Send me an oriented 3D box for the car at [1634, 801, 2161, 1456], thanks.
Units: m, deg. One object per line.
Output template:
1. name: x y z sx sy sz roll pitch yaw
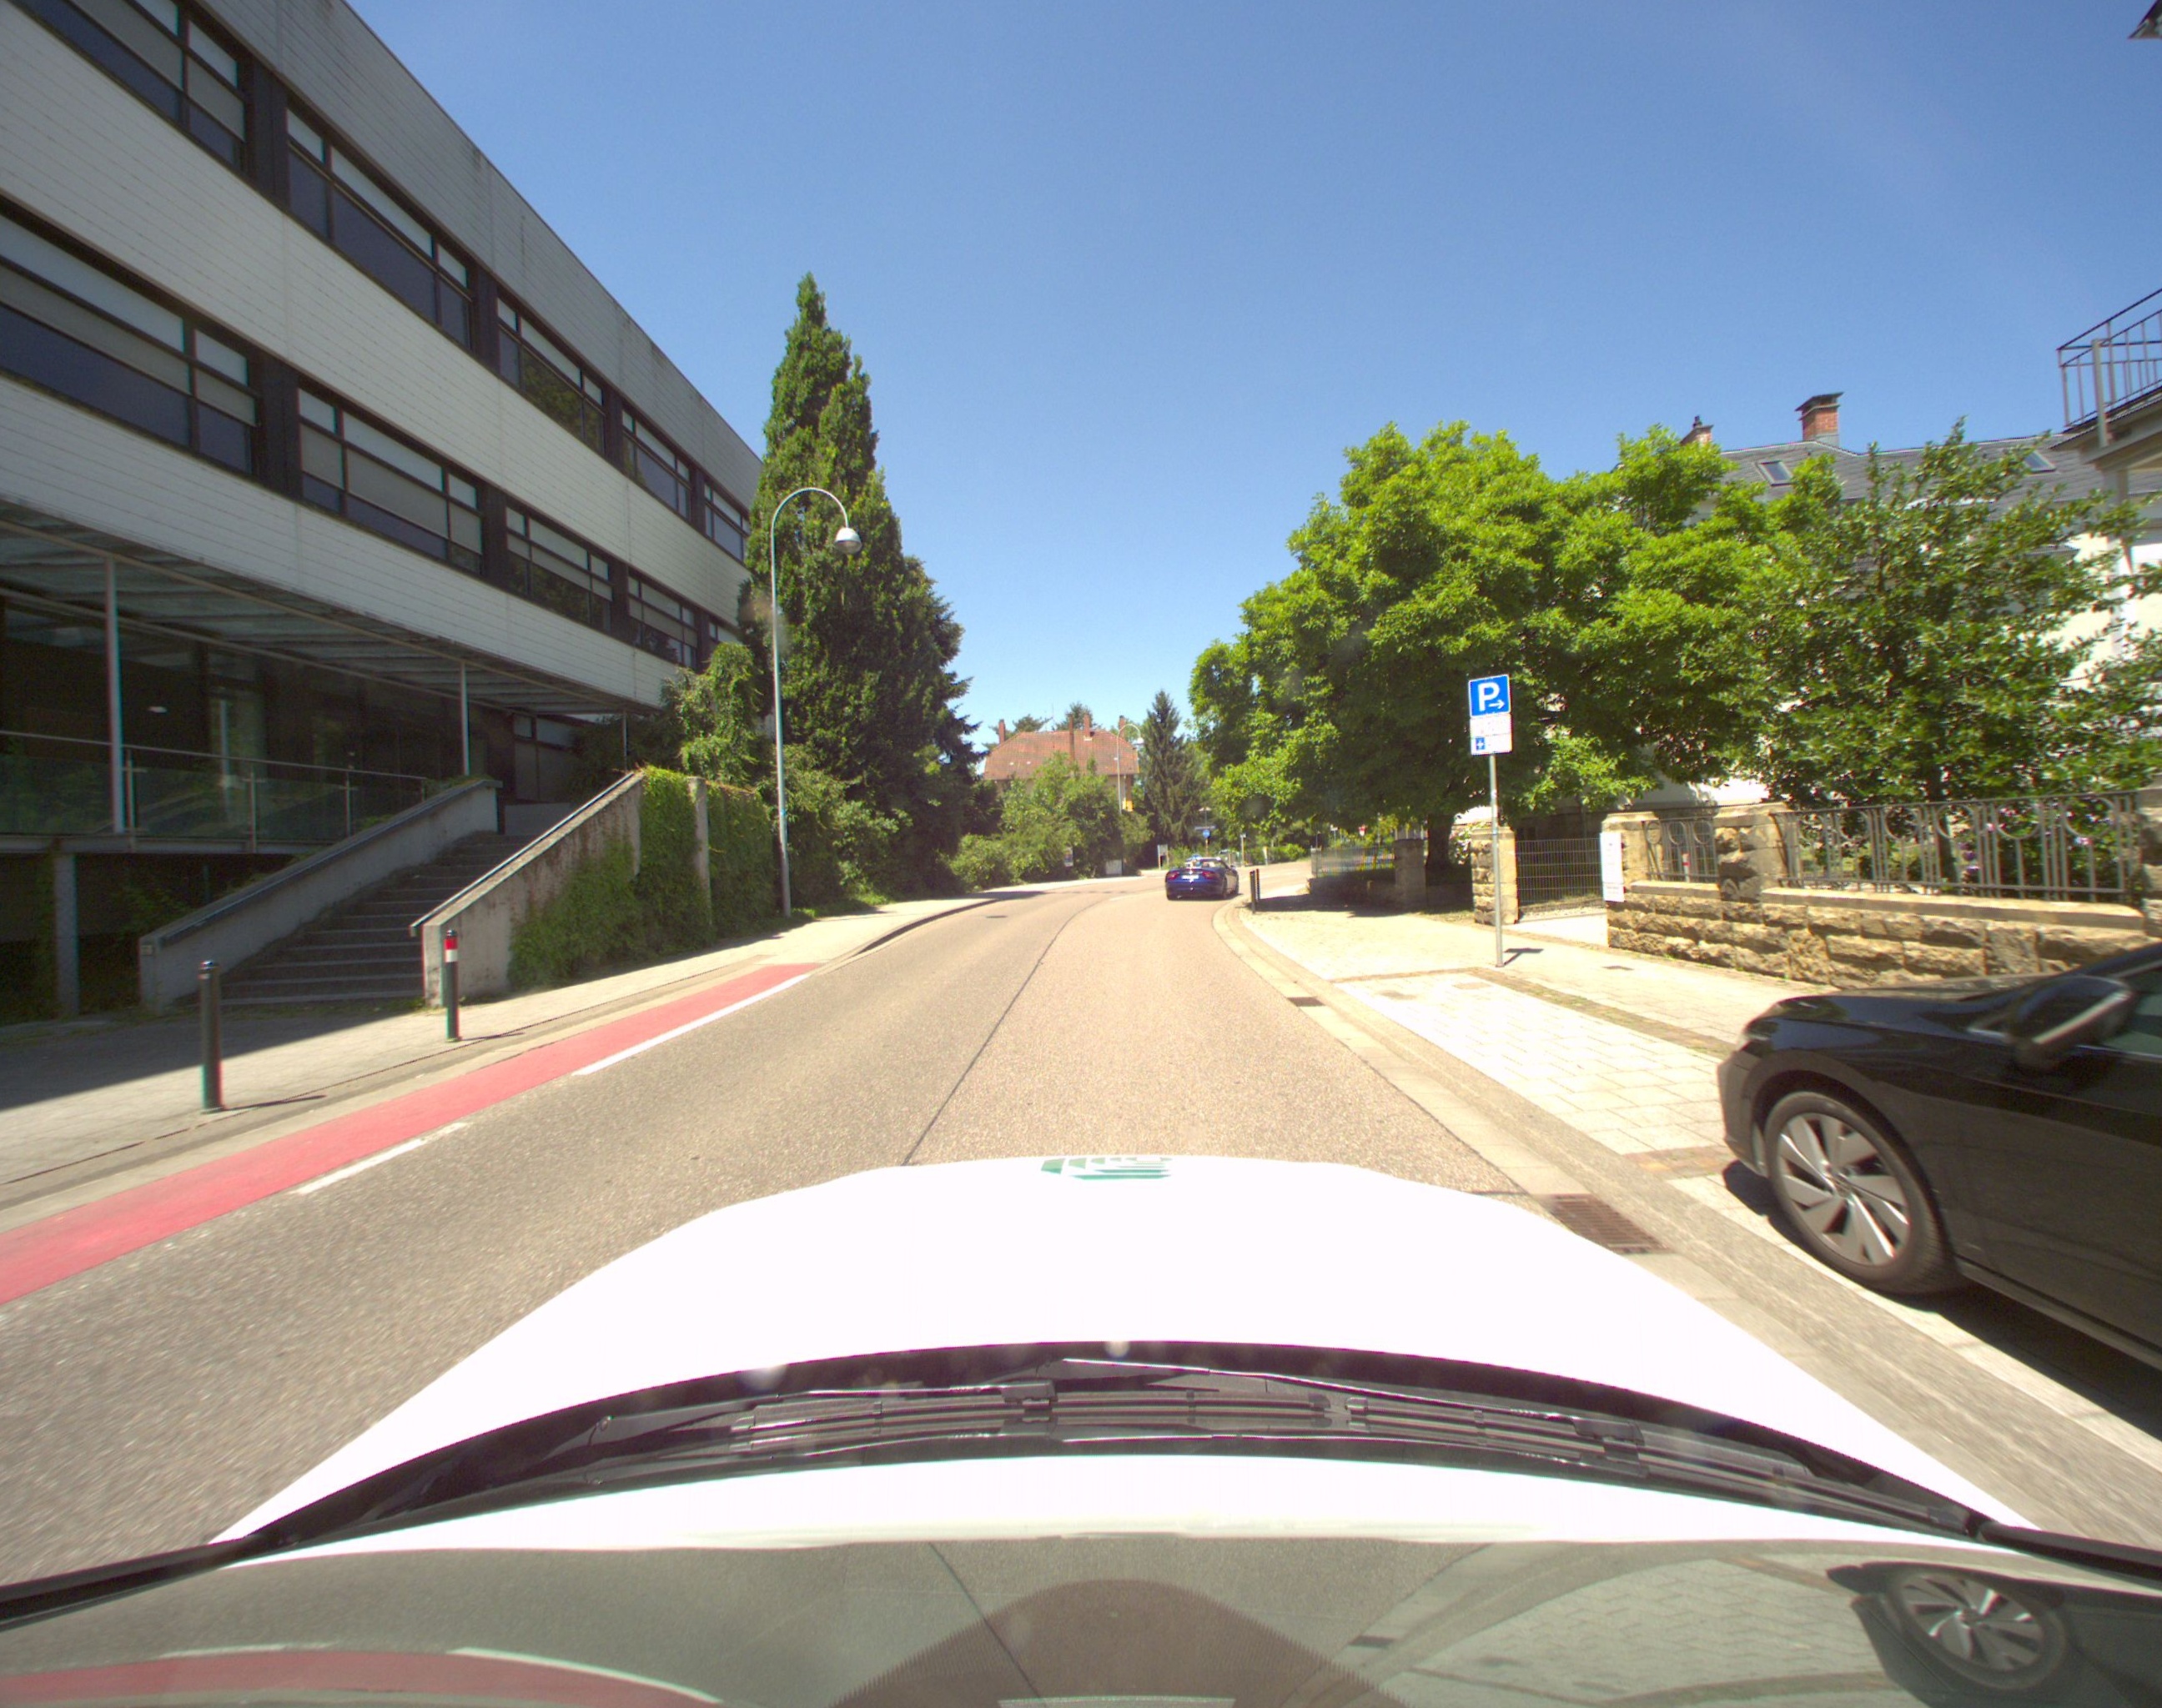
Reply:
1. car: 3.219 0.595 1.361 1.625 1.446 4.400 -5 0 2

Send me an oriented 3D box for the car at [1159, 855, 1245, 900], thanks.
1. car: 4.171 0.735 27.315 1.811 1.337 4.725 -1 0 21
